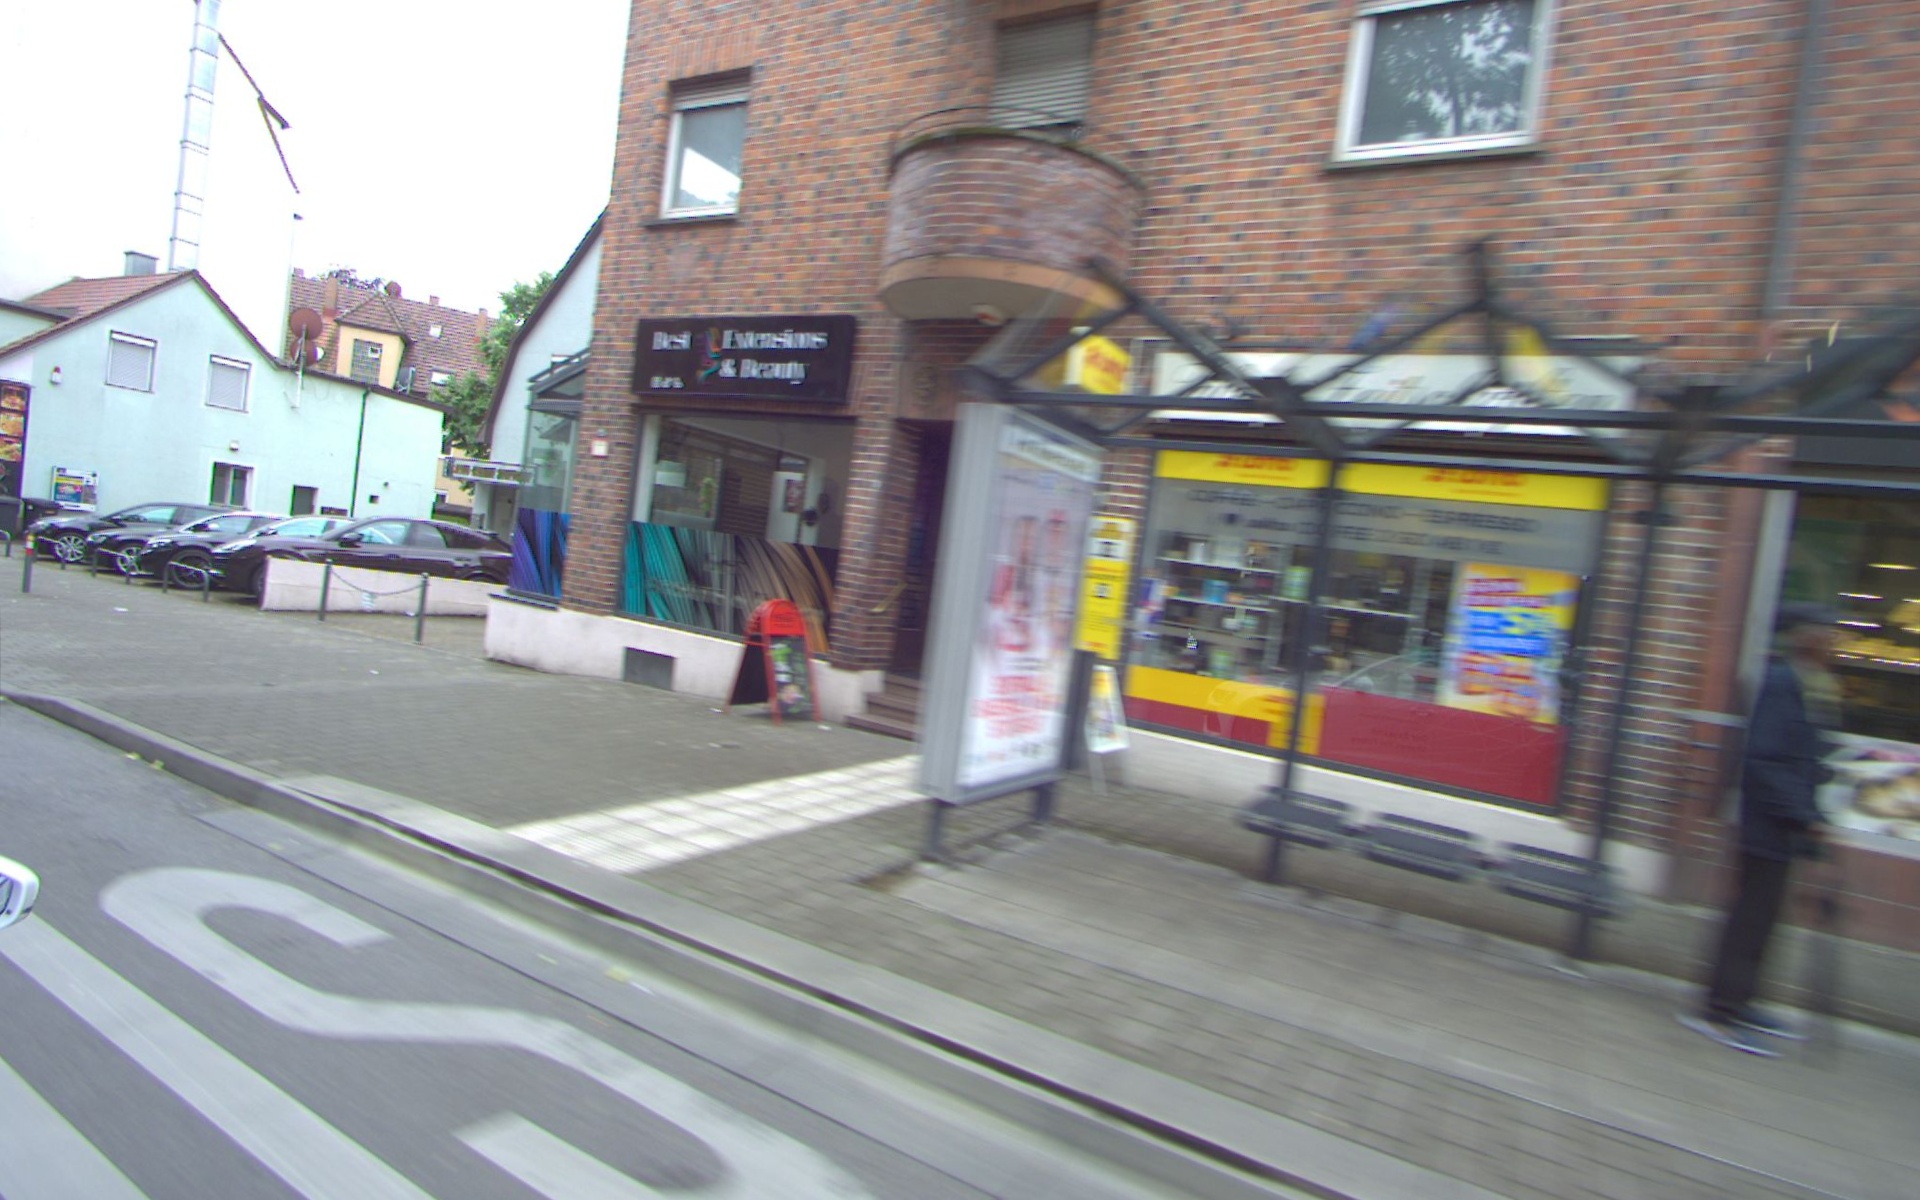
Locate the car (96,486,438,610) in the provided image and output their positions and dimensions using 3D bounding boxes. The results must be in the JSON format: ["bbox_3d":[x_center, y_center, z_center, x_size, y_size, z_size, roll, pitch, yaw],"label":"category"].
[{"bbox_3d":[-12.469,-0.890,18.560,4.865,1.559,1.984,7,1,-31],"label":"car"}]

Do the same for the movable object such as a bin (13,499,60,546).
[{"bbox_3d":[-23.432,-1.964,25.527,0.634,1.054,0.699,7,1,33],"label":"movable object such as a bin"}]

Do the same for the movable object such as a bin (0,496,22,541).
[{"bbox_3d":[-23.808,-2.046,24.879,0.634,1.054,0.699,7,1,33],"label":"movable object such as a bin"}]

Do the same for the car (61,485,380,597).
[{"bbox_3d":[-14.552,-1.125,20.177,4.871,1.512,1.838,7,1,-34],"label":"car"}]

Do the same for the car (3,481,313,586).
[{"bbox_3d":[-16.770,-1.355,21.433,4.869,1.488,1.912,7,1,-33],"label":"car"}]

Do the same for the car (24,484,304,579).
[{"bbox_3d":[-18.356,-1.554,23.479,4.878,1.488,1.908,7,1,-39],"label":"car"}]

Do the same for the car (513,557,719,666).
[{"bbox_3d":[-6.926,0.222,20.174,3.825,1.686,1.714,7,1,31],"label":"car"}]

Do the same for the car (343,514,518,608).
[{"bbox_3d":[-12.214,-0.914,23.173,3.825,1.686,1.714,7,1,31],"label":"car"}]

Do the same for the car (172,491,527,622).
[{"bbox_3d":[-10.200,-0.694,17.195,4.863,1.695,1.983,4,2,-32],"label":"car"}]

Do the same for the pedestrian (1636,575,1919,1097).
[{"bbox_3d":[3.228,0.833,3.947,0.752,1.750,0.669,8,2,36],"label":"pedestrian"}]
